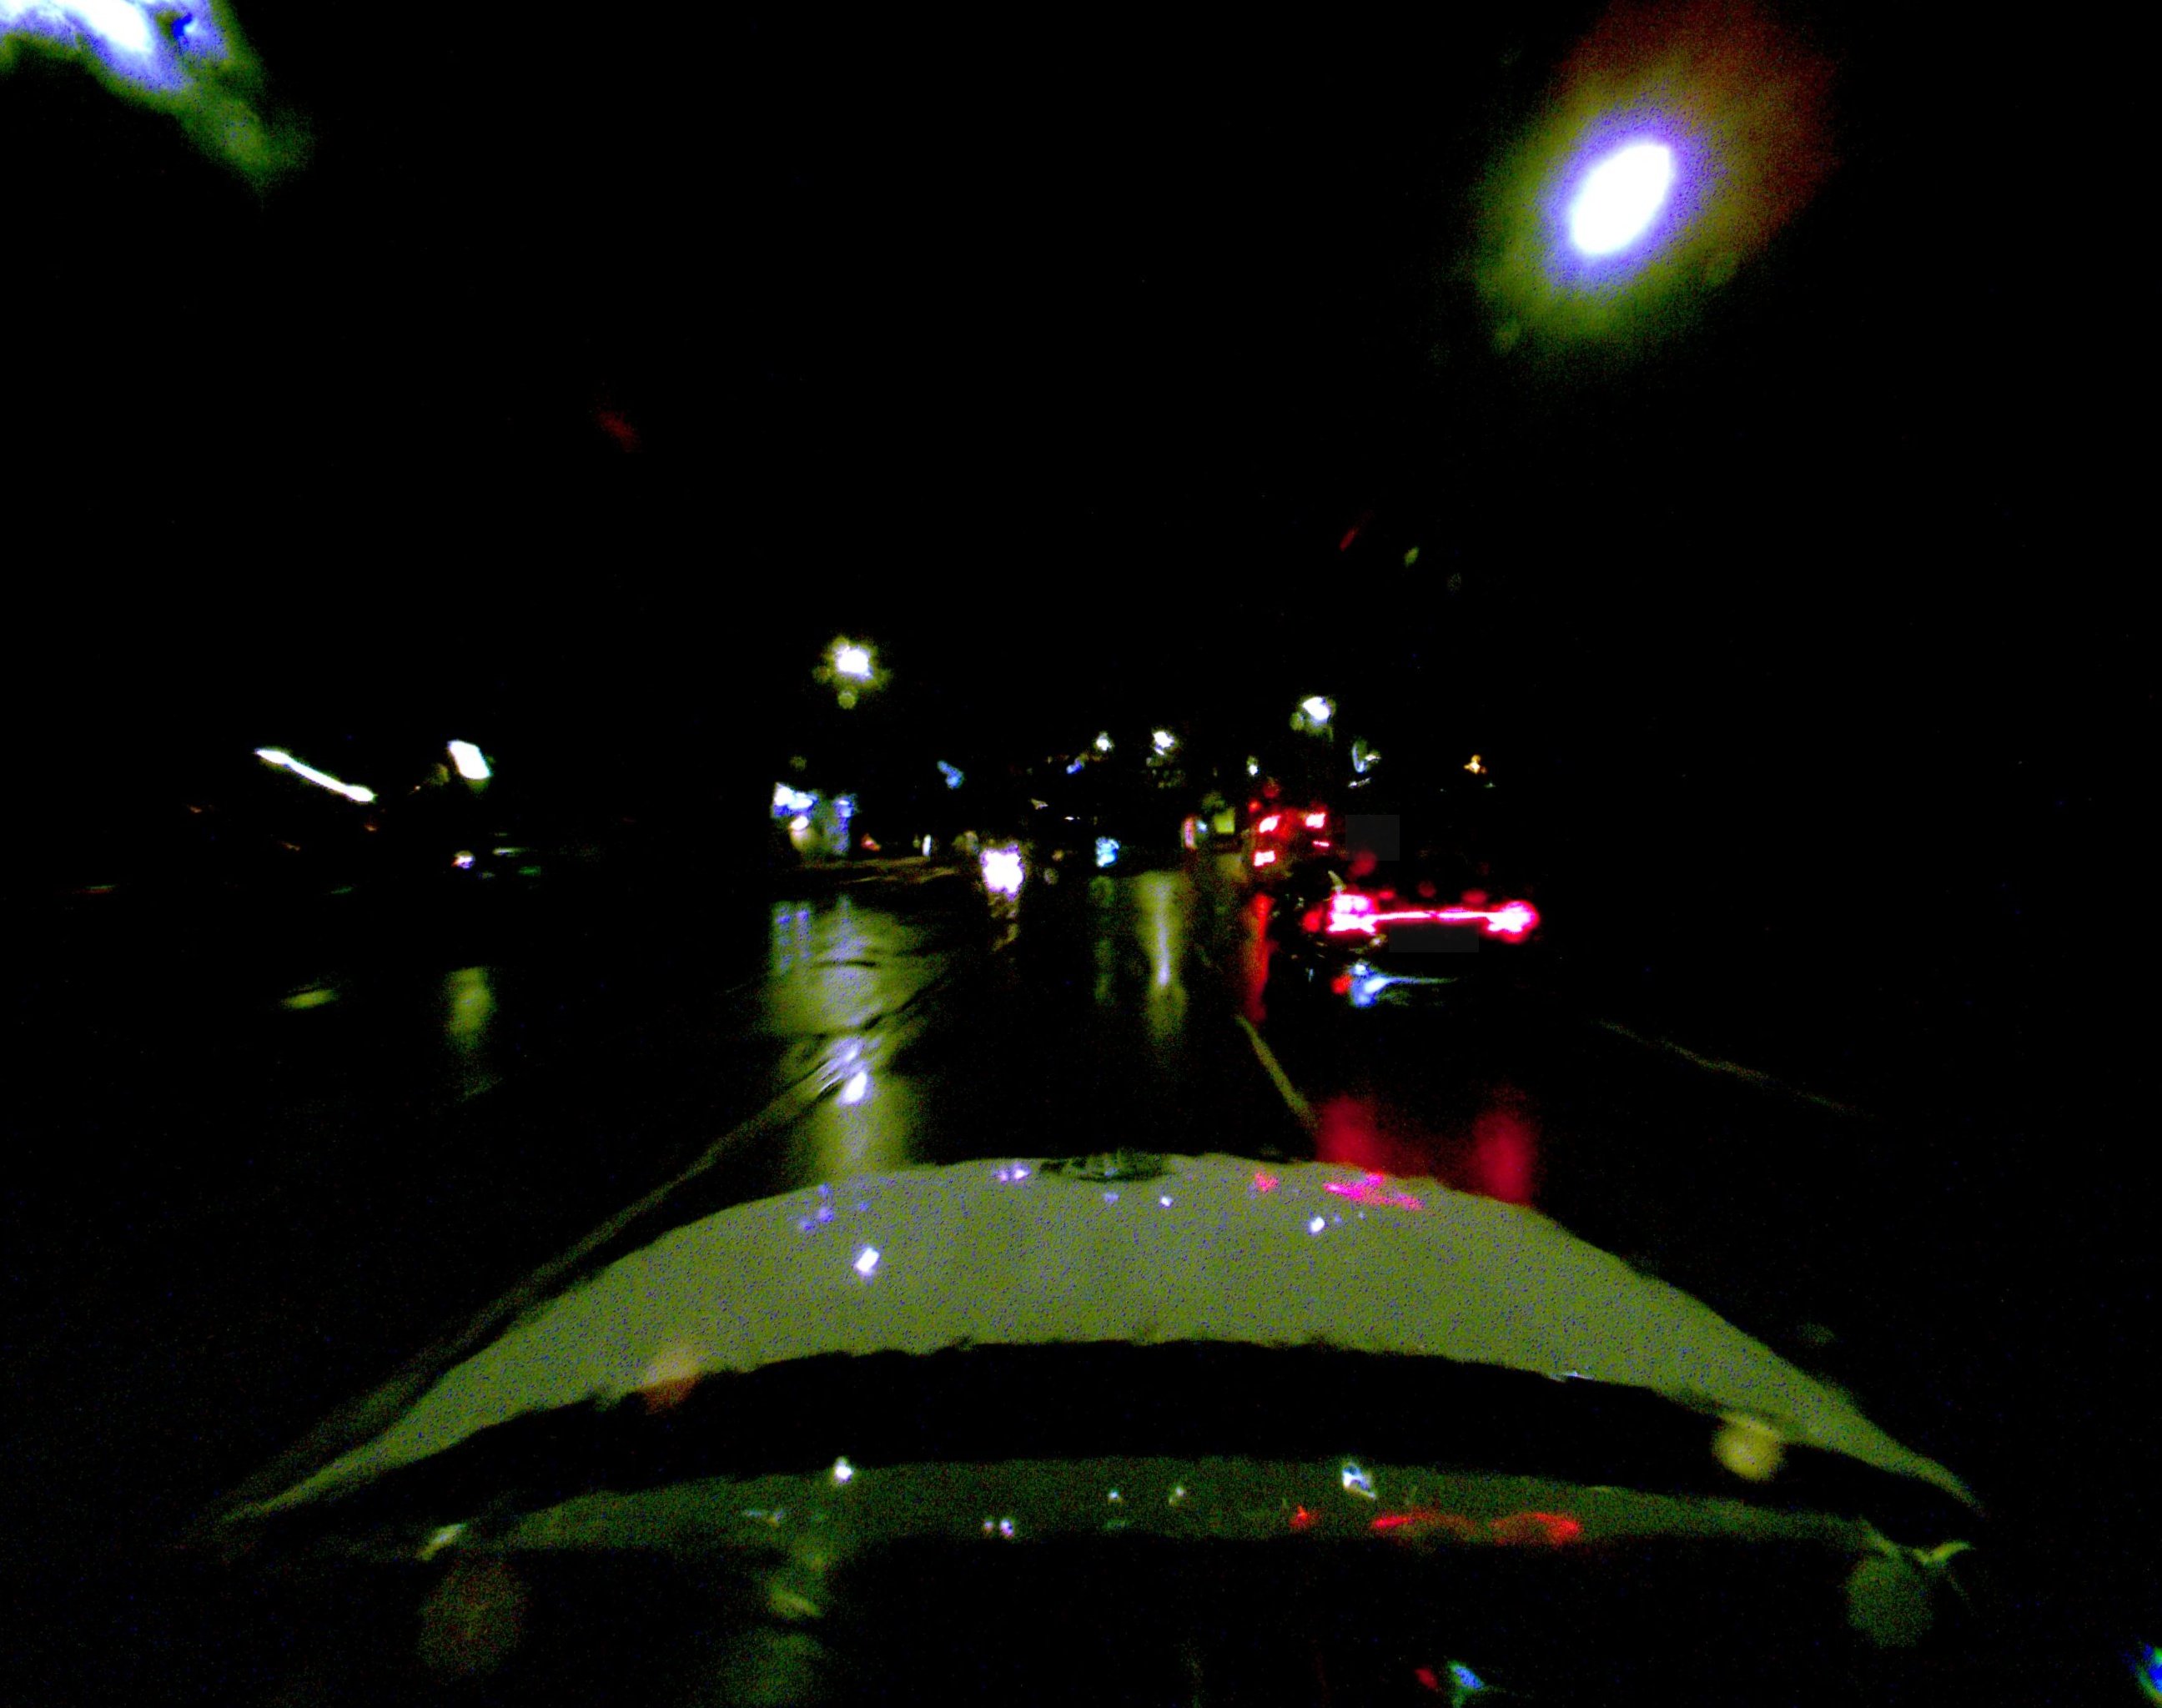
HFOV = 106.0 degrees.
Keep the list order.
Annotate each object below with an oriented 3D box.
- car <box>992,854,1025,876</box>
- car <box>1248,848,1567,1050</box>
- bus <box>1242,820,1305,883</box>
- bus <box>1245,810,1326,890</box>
[{"bbox_3d":[-5.084,0.728,57.460,1.758,1.457,3.954,1,0,2],"label":"car"},{"bbox_3d":[2.905,0.722,8.255,1.984,1.524,4.006,0,0,6],"label":"car"},{"bbox_3d":[10.831,-0.143,46.494,3.024,3.212,9.076,0,0,10],"label":"bus"},{"bbox_3d":[9.189,-0.180,37.527,3.024,3.212,9.076,0,0,10],"label":"bus"}]
